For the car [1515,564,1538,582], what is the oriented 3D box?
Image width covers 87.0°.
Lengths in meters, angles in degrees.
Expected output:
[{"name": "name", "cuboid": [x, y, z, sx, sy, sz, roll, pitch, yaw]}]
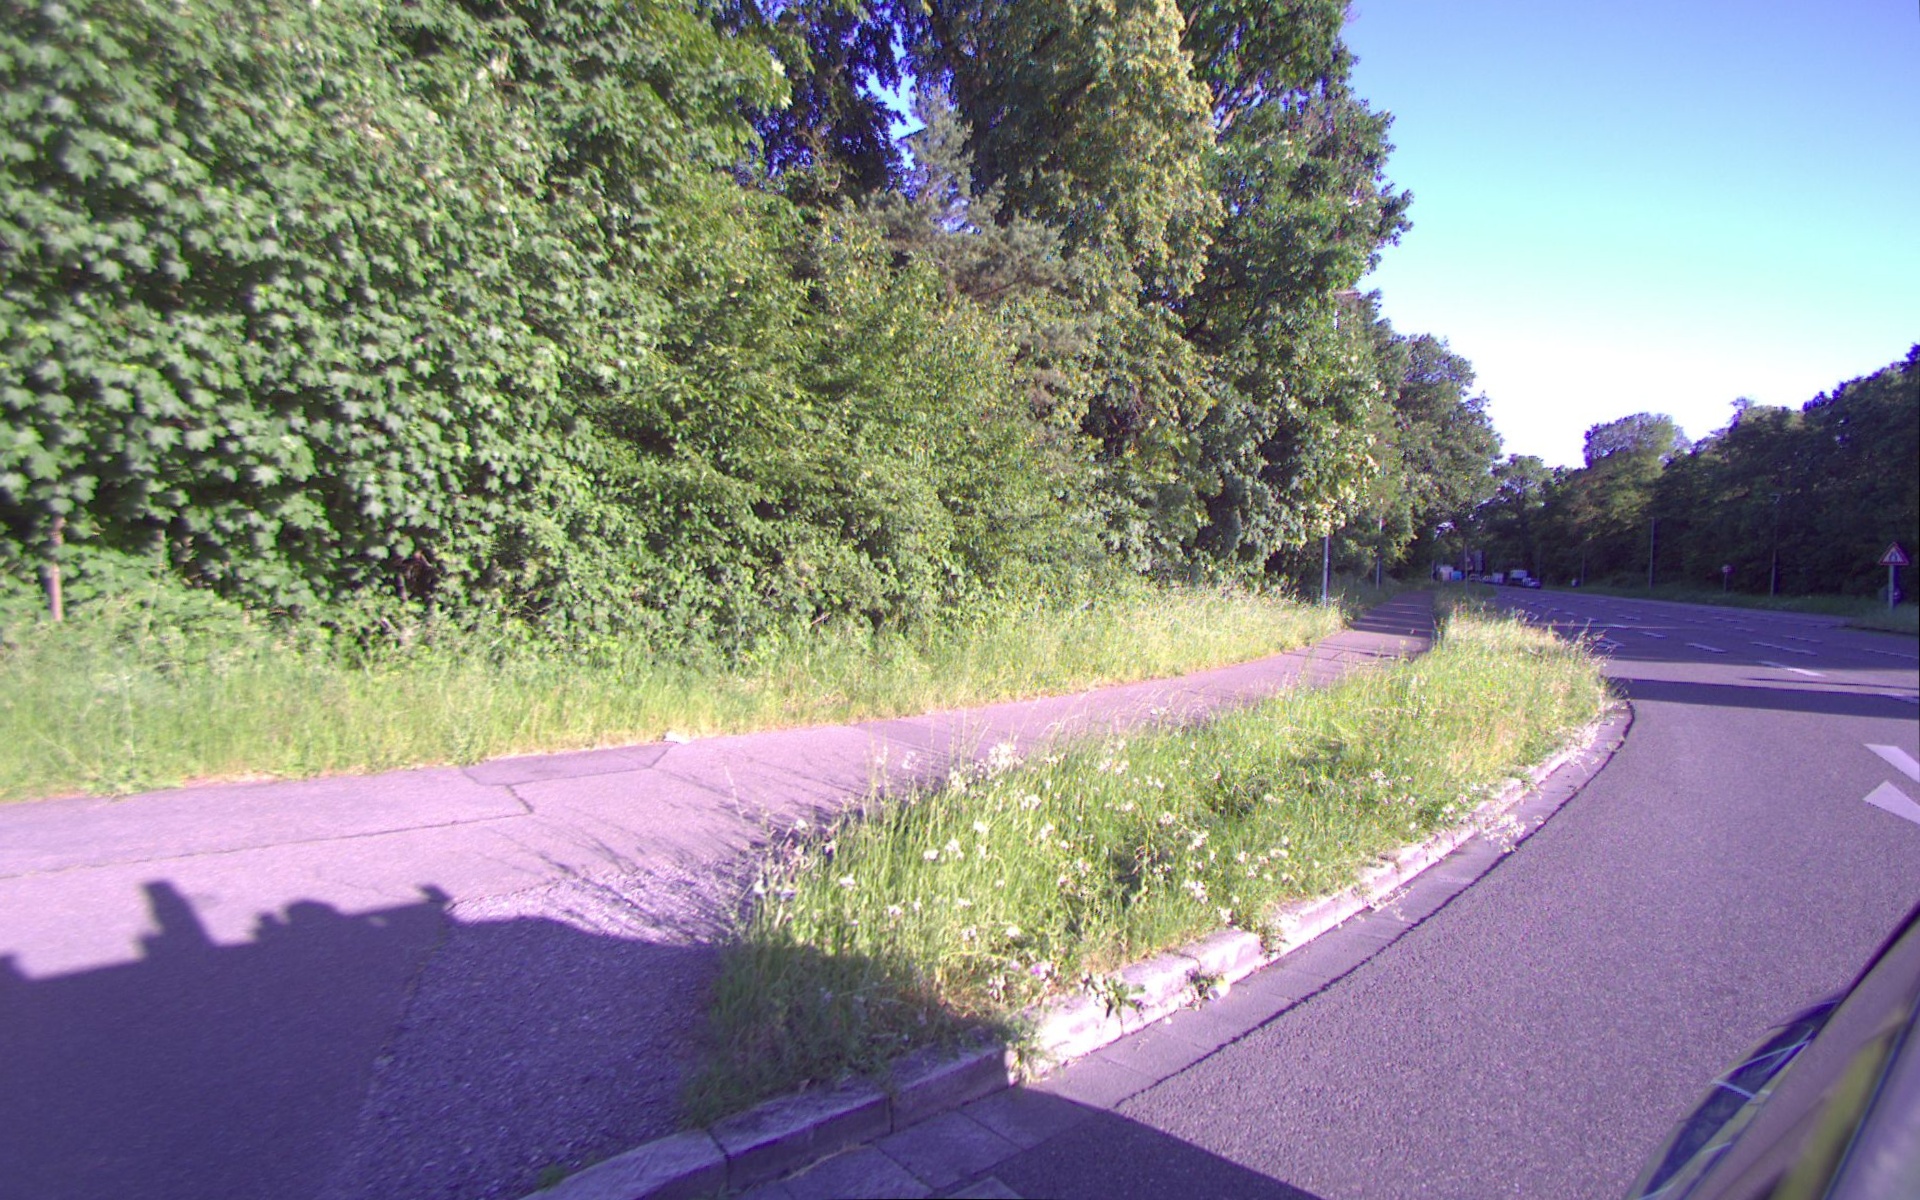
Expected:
[{"name": "car", "cuboid": [92.880, -4.441, 165.889, 2.434, 2.881, 4.766, 4, 3, 22]}]

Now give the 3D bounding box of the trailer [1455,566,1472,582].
[{"name": "trailer", "cuboid": [74.680, -3.891, 150.125, 1.849, 2.204, 4.100, 1, 2, 22]}]

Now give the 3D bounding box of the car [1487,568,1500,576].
[{"name": "car", "cuboid": [109.100, -5.681, 206.903, 1.787, 1.523, 3.886, 4, 4, 22]}]

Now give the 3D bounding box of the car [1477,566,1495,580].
[{"name": "car", "cuboid": [82.823, -4.241, 159.463, 1.975, 2.038, 3.975, 2, 2, 20]}]

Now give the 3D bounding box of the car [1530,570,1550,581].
[{"name": "car", "cuboid": [86.056, -3.675, 150.218, 1.894, 1.481, 3.984, 4, 4, 22]}]

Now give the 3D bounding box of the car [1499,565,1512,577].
[{"name": "car", "cuboid": [105.143, -5.603, 195.118, 1.673, 2.126, 4.601, 4, 3, 21]}]

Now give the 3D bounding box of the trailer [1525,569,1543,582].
[{"name": "trailer", "cuboid": [87.753, -3.749, 154.871, 1.787, 1.750, 3.622, 4, 3, 22]}]

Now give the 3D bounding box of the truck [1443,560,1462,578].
[{"name": "truck", "cuboid": [81.058, -5.055, 166.663, 2.363, 2.907, 5.560, 0, 2, 22]}]

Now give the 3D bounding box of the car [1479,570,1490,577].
[{"name": "car", "cuboid": [114.842, -5.808, 221.576, 1.787, 1.523, 3.886, 4, 4, 22]}]
